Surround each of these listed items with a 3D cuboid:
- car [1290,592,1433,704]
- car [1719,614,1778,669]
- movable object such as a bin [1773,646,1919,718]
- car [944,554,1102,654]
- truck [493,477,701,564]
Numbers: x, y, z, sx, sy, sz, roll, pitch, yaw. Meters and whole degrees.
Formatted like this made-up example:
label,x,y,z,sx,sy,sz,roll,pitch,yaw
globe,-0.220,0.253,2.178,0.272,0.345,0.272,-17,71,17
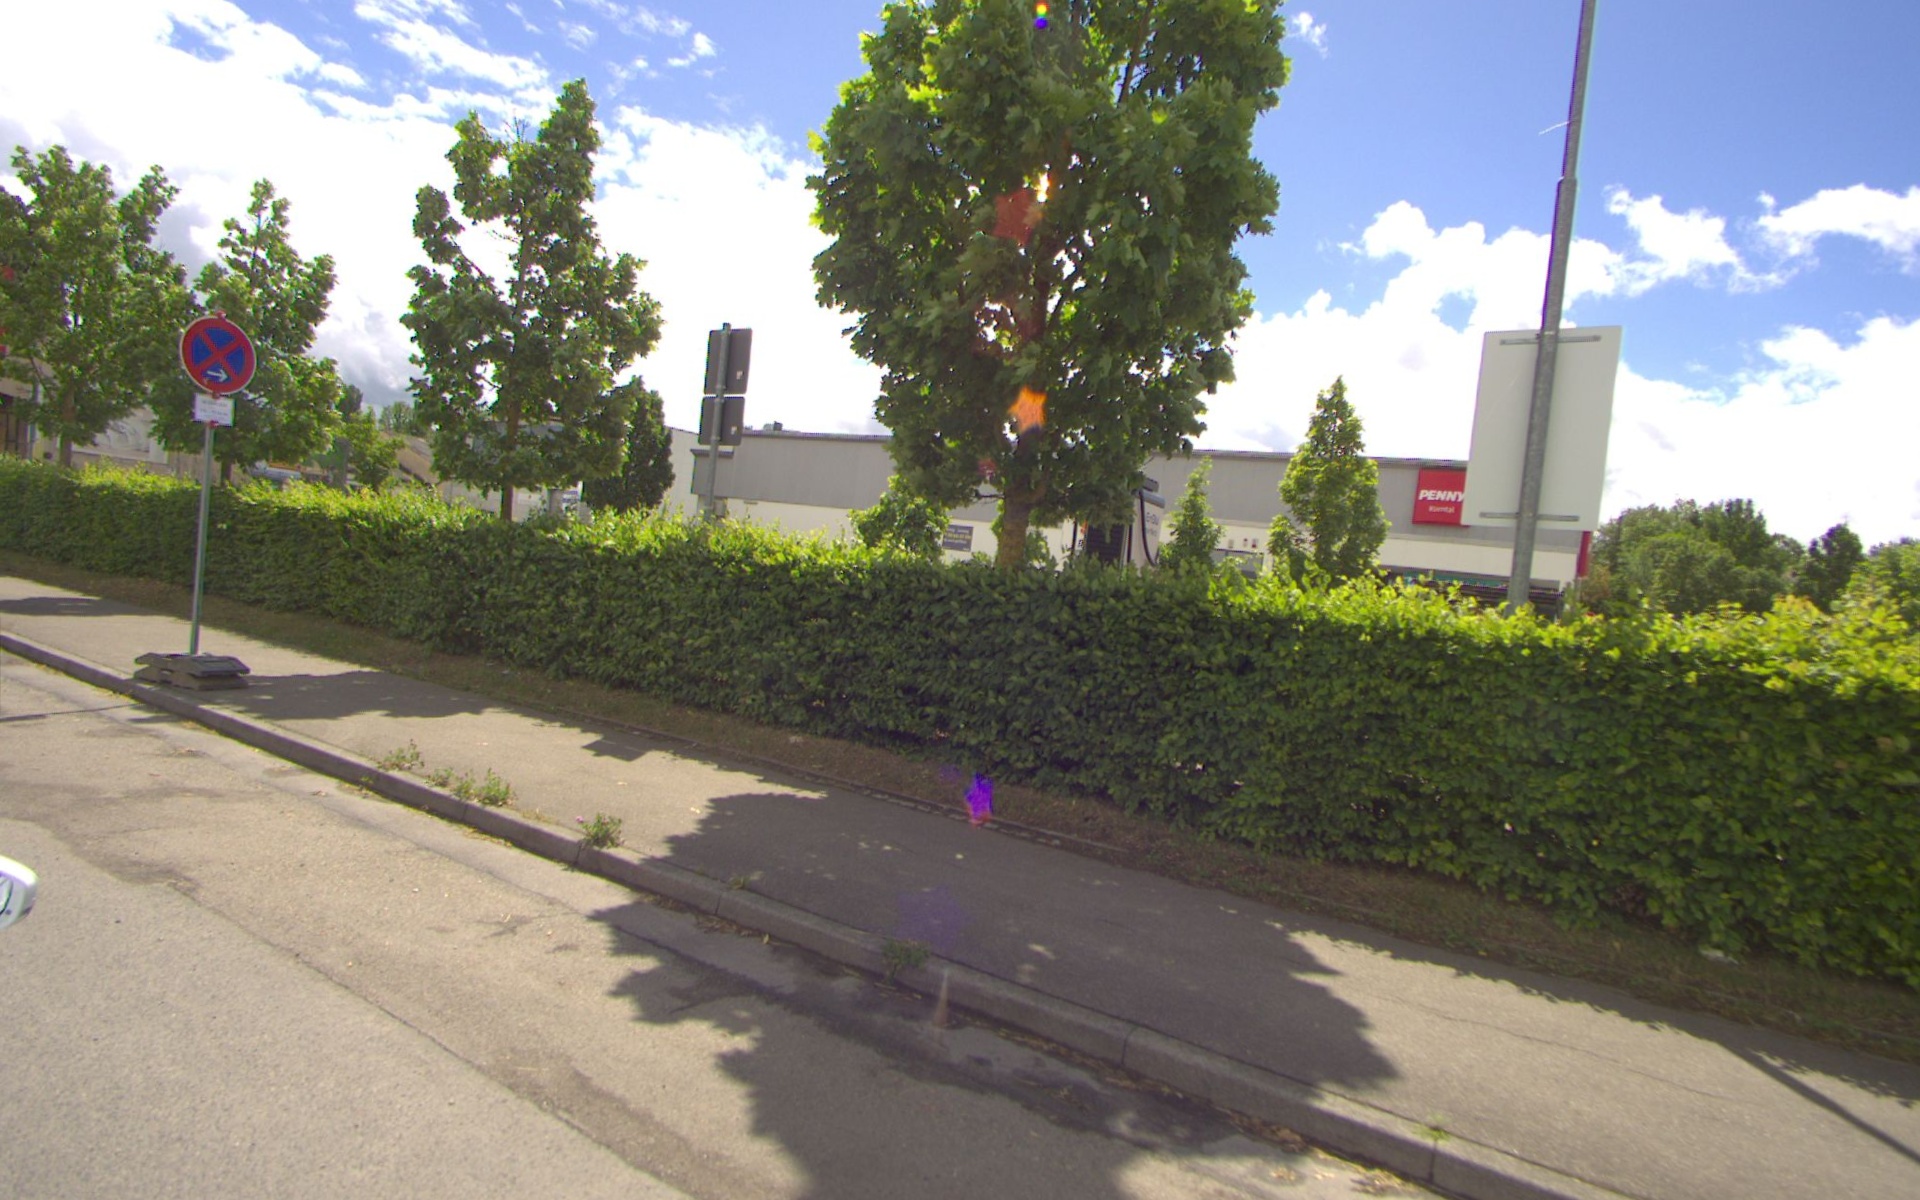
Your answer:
label,x,y,z,sx,sy,sz,roll,pitch,yaw
car,8.103,1.026,20.078,1.966,1.725,3.997,8,-2,30
car,50.139,2.692,64.090,1.901,2.956,5.169,8,-2,30
movable object such as a bin,48.206,4.408,53.819,6.585,2.793,3.938,8,-2,32
car,1.576,0.161,23.537,1.966,1.725,3.997,8,-2,30
truck,-20.858,-4.479,59.056,2.930,2.897,12.003,8,-2,32
